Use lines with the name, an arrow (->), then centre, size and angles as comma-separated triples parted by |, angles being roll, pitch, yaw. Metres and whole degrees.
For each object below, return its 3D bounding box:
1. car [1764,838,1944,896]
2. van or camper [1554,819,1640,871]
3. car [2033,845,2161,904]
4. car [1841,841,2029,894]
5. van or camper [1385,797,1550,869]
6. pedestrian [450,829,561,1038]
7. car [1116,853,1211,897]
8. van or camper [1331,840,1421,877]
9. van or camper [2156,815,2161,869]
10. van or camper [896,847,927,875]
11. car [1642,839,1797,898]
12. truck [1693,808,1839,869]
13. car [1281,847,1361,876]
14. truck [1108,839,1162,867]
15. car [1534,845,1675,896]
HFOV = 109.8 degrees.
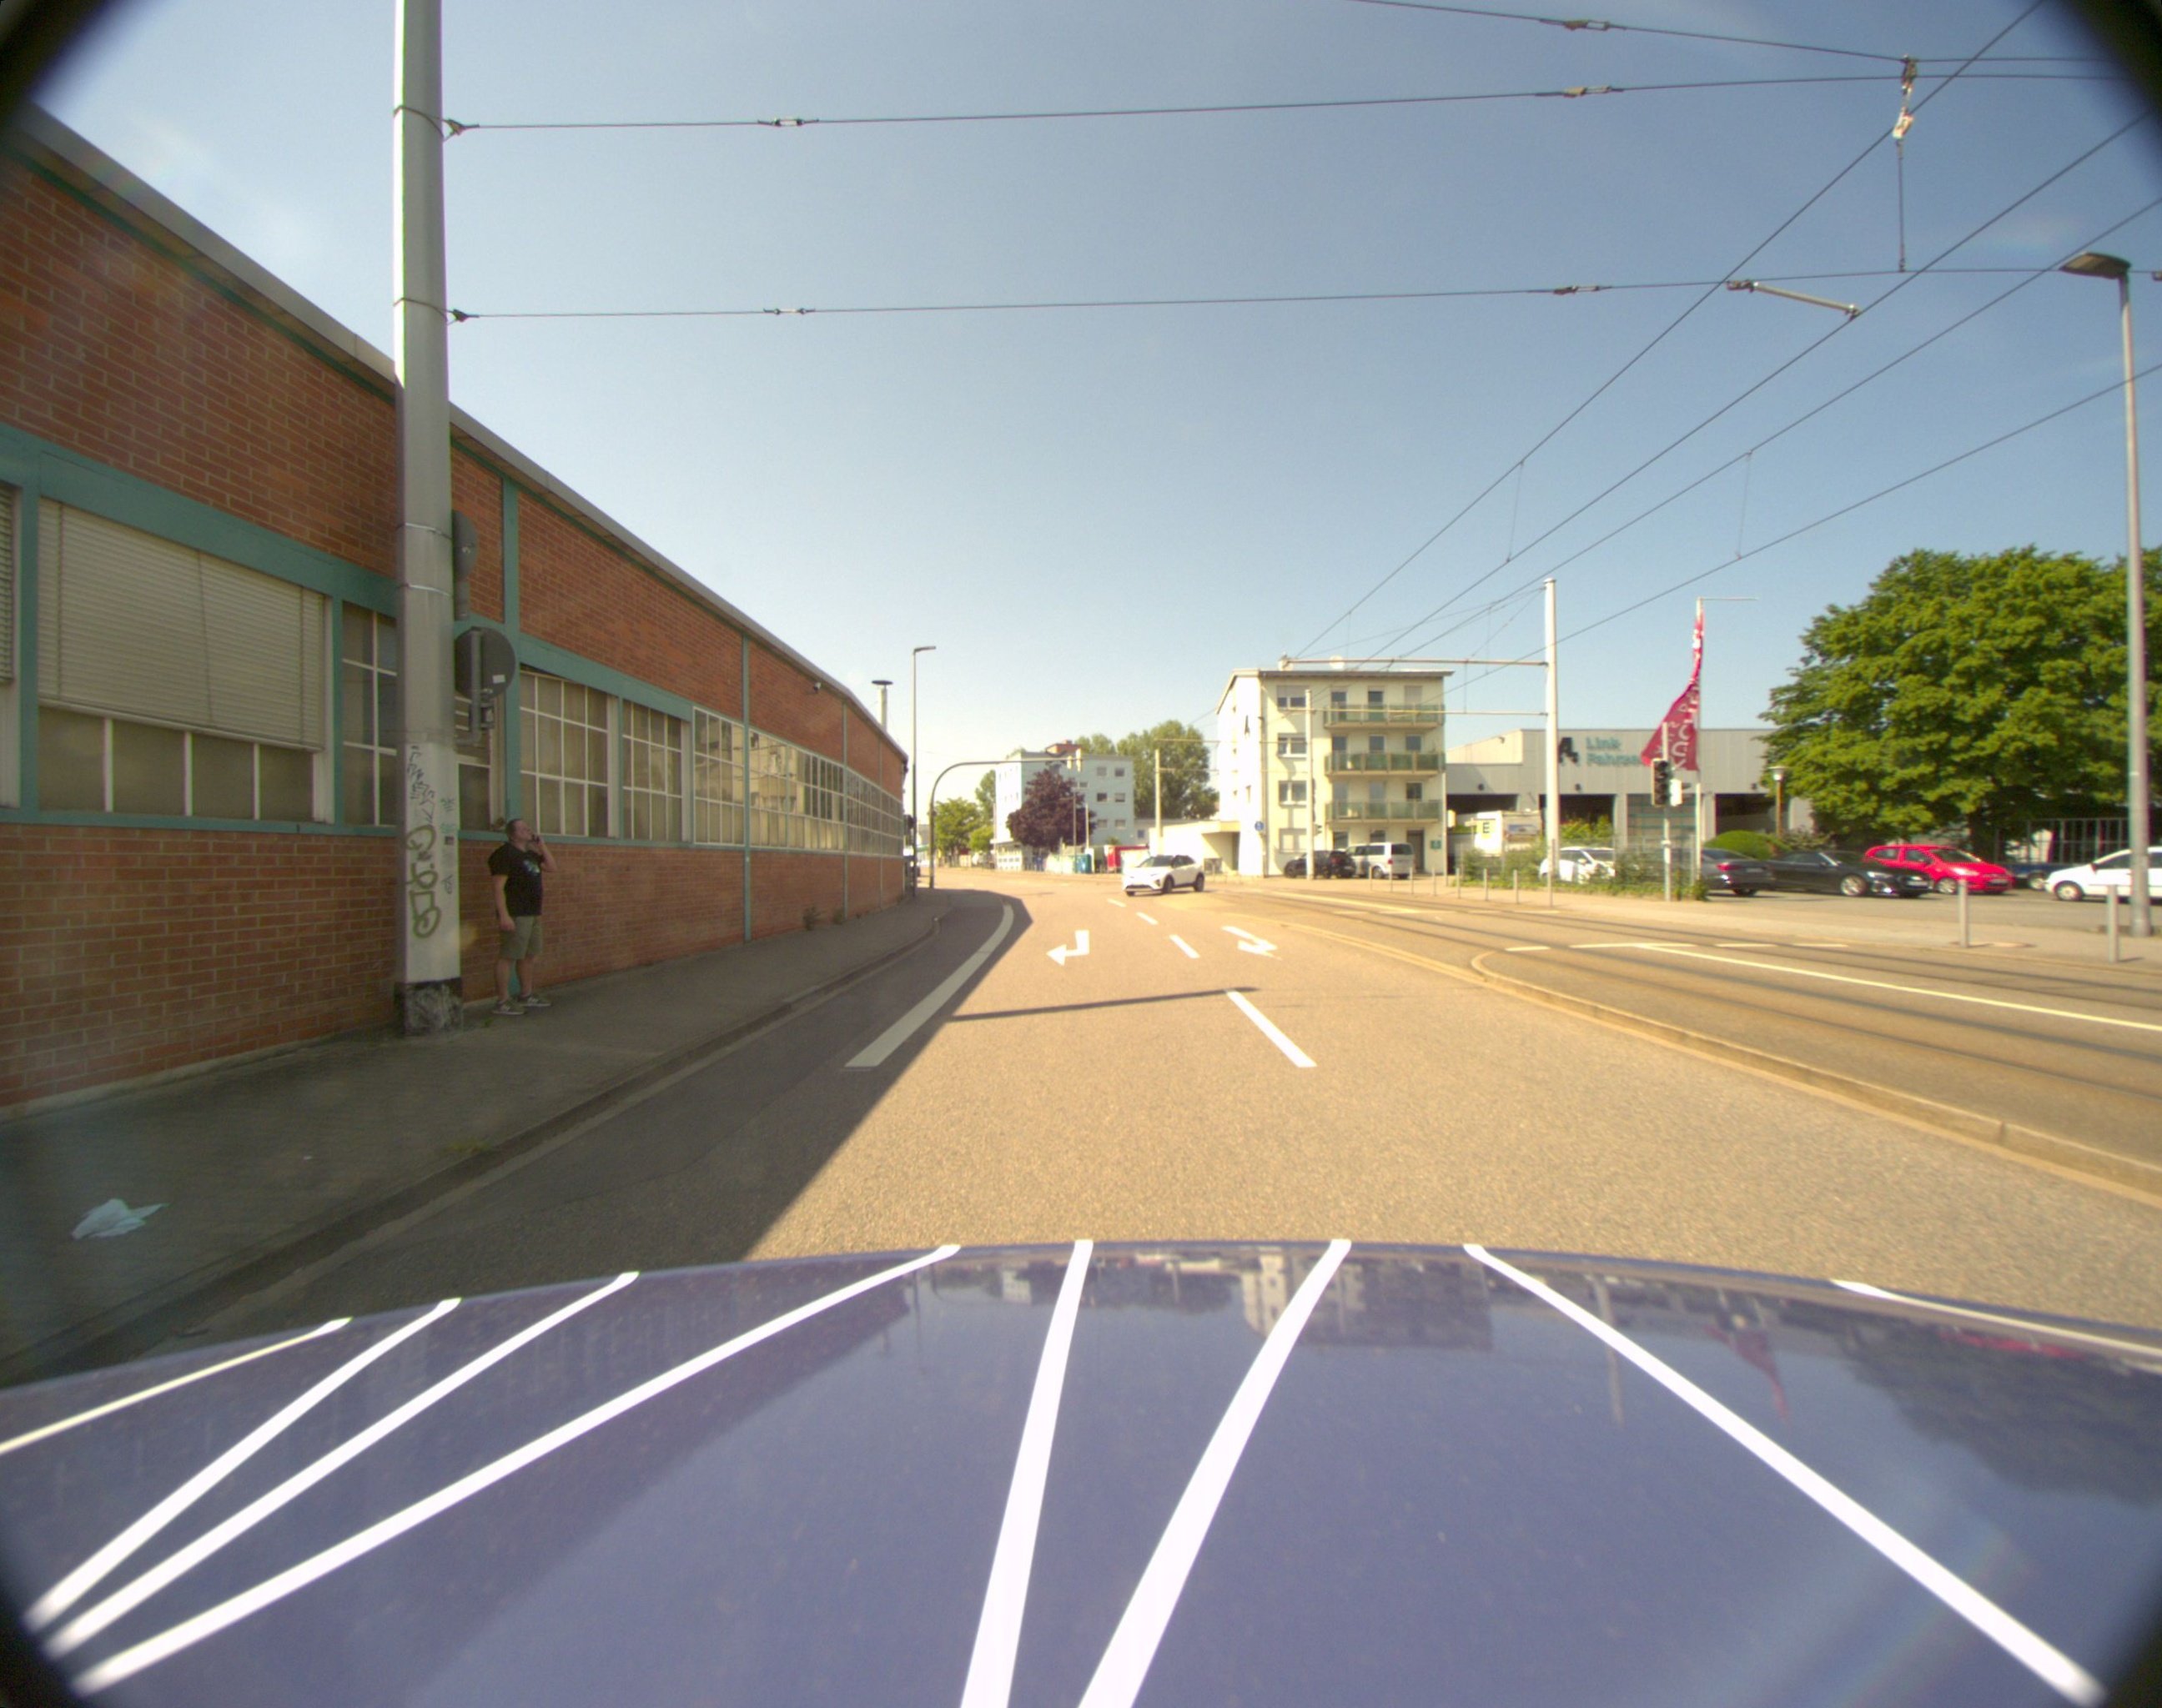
car -> 23.241, 0.372, 23.085 | 1.854, 1.612, 3.838 | 0, 0, 8
van or camper -> 34.031, -0.538, 50.342 | 1.999, 3.186, 5.058 | -1, -1, -3
car -> 27.952, 0.510, 19.984 | 1.517, 1.476, 3.389 | -1, 0, -3
car -> 27.828, 0.410, 24.968 | 1.856, 1.583, 3.836 | -1, 0, -1
van or camper -> 23.631, -1.047, 47.614 | 2.781, 3.669, 11.633 | -1, -2, -9
pedestrian -> -5.110, 0.683, 6.780 | 0.449, 1.754, 0.686 | -1, -2, 1
car -> 3.201, 0.742, 28.881 | 1.733, 1.521, 4.118 | -1, 0, 37
van or camper -> 15.899, 0.204, 41.254 | 2.002, 1.897, 4.547 | 0, 0, -22
van or camper -> 40.032, -0.447, 25.371 | 1.997, 1.996, 4.646 | -1, 0, 7
van or camper -> -16.071, 0.644, 71.936 | 2.046, 2.519, 5.859 | -1, 0, -20
car -> 19.006, 0.397, 22.859 | 1.767, 1.612, 3.838 | -1, 0, 8
truck -> 45.711, -1.004, 51.134 | 2.623, 3.760, 7.860 | 0, 0, -1
car -> 12.978, 0.404, 41.298 | 1.883, 1.512, 3.965 | -1, 0, -27
truck -> 5.242, -0.140, 73.866 | 4.836, 2.611, 2.186 | -1, 0, -14
car -> 16.345, 0.461, 23.976 | 1.712, 1.425, 3.954 | -2, 1, 0
